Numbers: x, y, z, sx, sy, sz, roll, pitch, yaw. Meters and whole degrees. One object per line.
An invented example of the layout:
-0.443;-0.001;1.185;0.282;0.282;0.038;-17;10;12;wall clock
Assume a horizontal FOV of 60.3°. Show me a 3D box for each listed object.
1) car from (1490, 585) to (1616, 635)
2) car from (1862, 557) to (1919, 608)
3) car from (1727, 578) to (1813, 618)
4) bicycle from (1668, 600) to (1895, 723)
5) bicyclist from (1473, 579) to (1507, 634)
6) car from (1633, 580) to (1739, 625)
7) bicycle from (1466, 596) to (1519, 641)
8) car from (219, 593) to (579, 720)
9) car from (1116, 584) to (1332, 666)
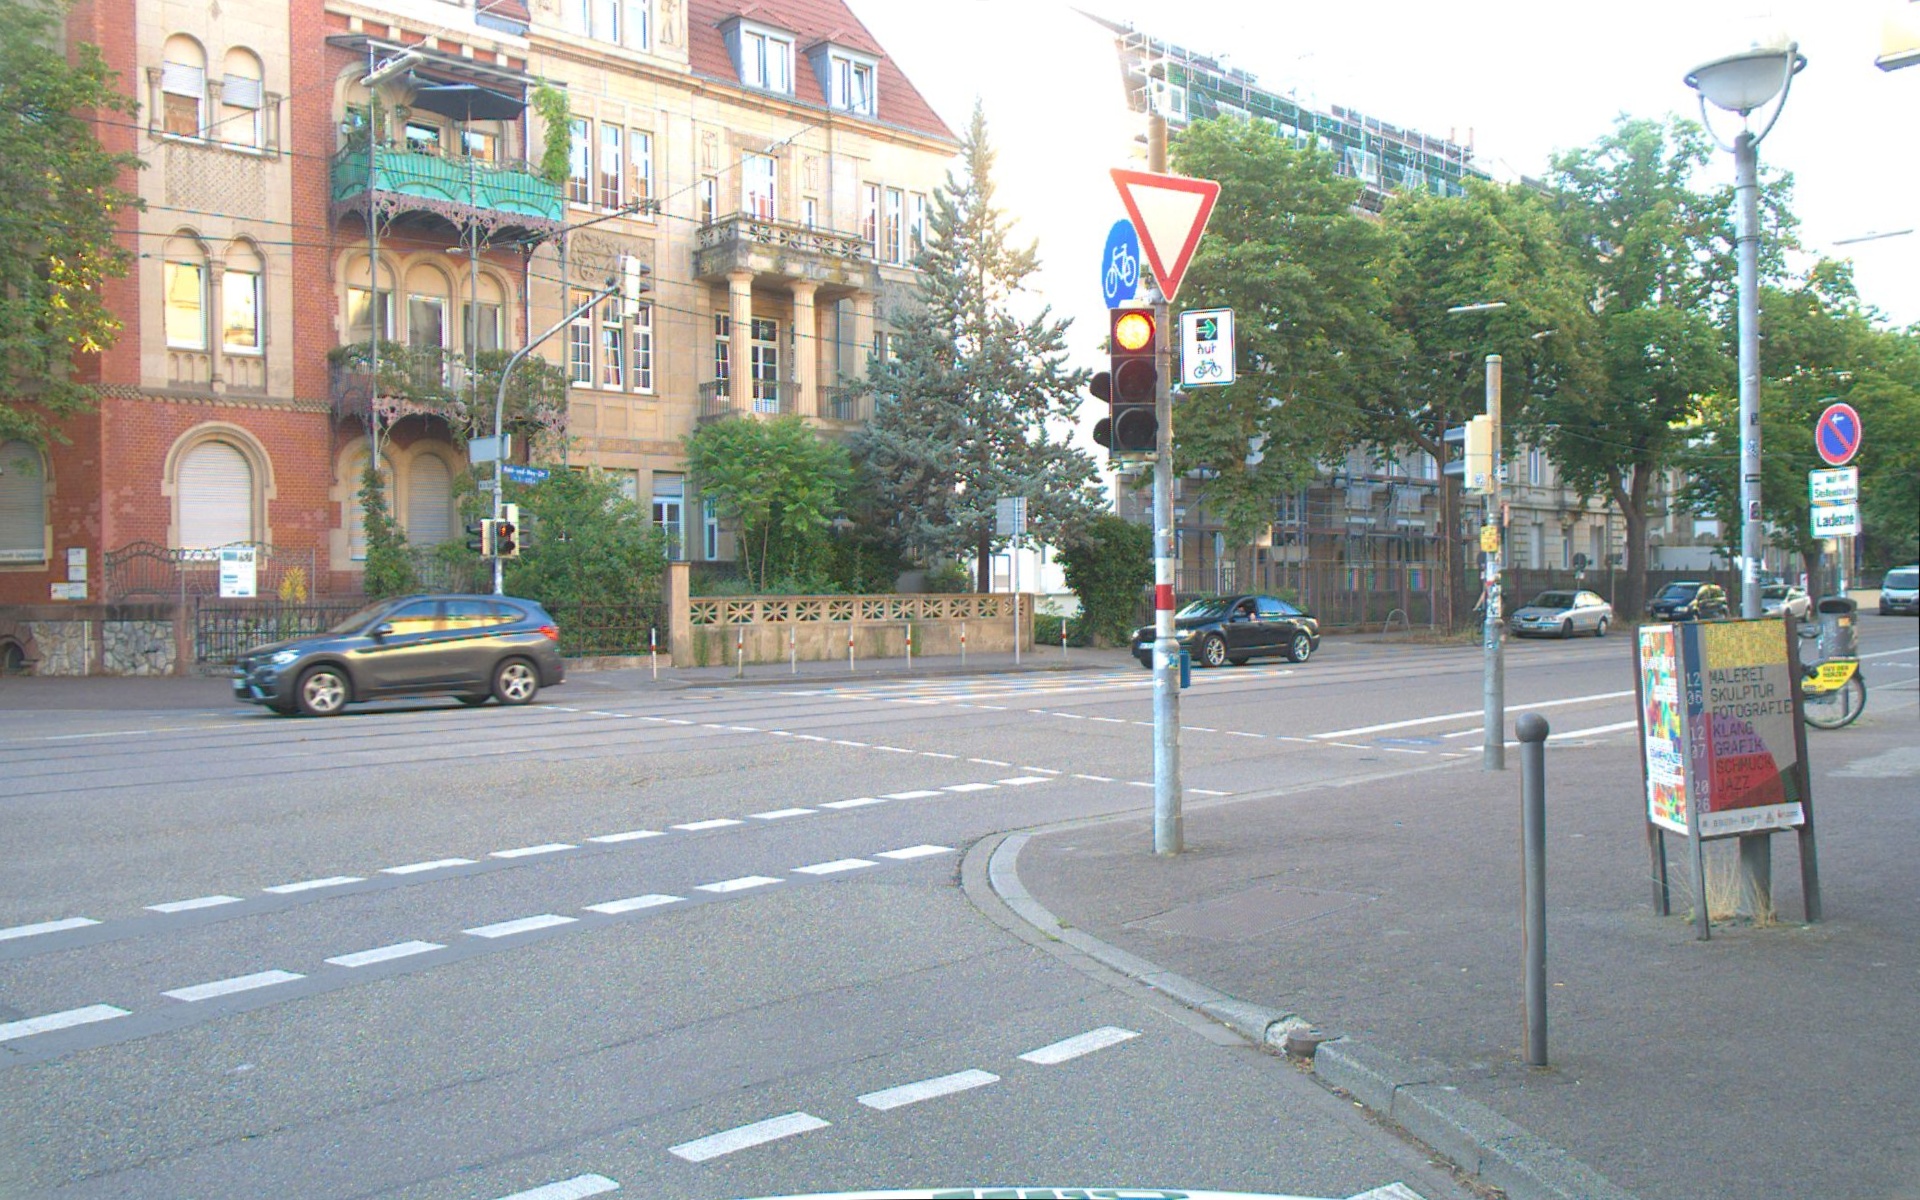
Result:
18.634;0.282;51.855;1.977;1.451;4.599;-1;0;45;car
44.780;-0.850;78.683;4.595;2.356;1.919;-1;0;-43;car
32.175;-0.082;65.637;1.916;1.508;4.293;-1;0;42;car
7.950;0.593;16.087;1.832;1.150;0.732;-1;0;10;bicycle
14.207;0.171;44.333;0.729;1.453;0.547;-1;0;-38;bicyclist
25.925;0.083;59.002;4.131;1.508;1.921;-1;0;-41;car
14.313;0.496;44.404;1.591;1.168;0.547;-1;0;-38;bicycle
-7.730;0.709;23.003;4.378;1.536;1.922;-1;0;-40;car
5.499;0.478;34.152;4.591;1.536;1.921;-1;0;-41;car
